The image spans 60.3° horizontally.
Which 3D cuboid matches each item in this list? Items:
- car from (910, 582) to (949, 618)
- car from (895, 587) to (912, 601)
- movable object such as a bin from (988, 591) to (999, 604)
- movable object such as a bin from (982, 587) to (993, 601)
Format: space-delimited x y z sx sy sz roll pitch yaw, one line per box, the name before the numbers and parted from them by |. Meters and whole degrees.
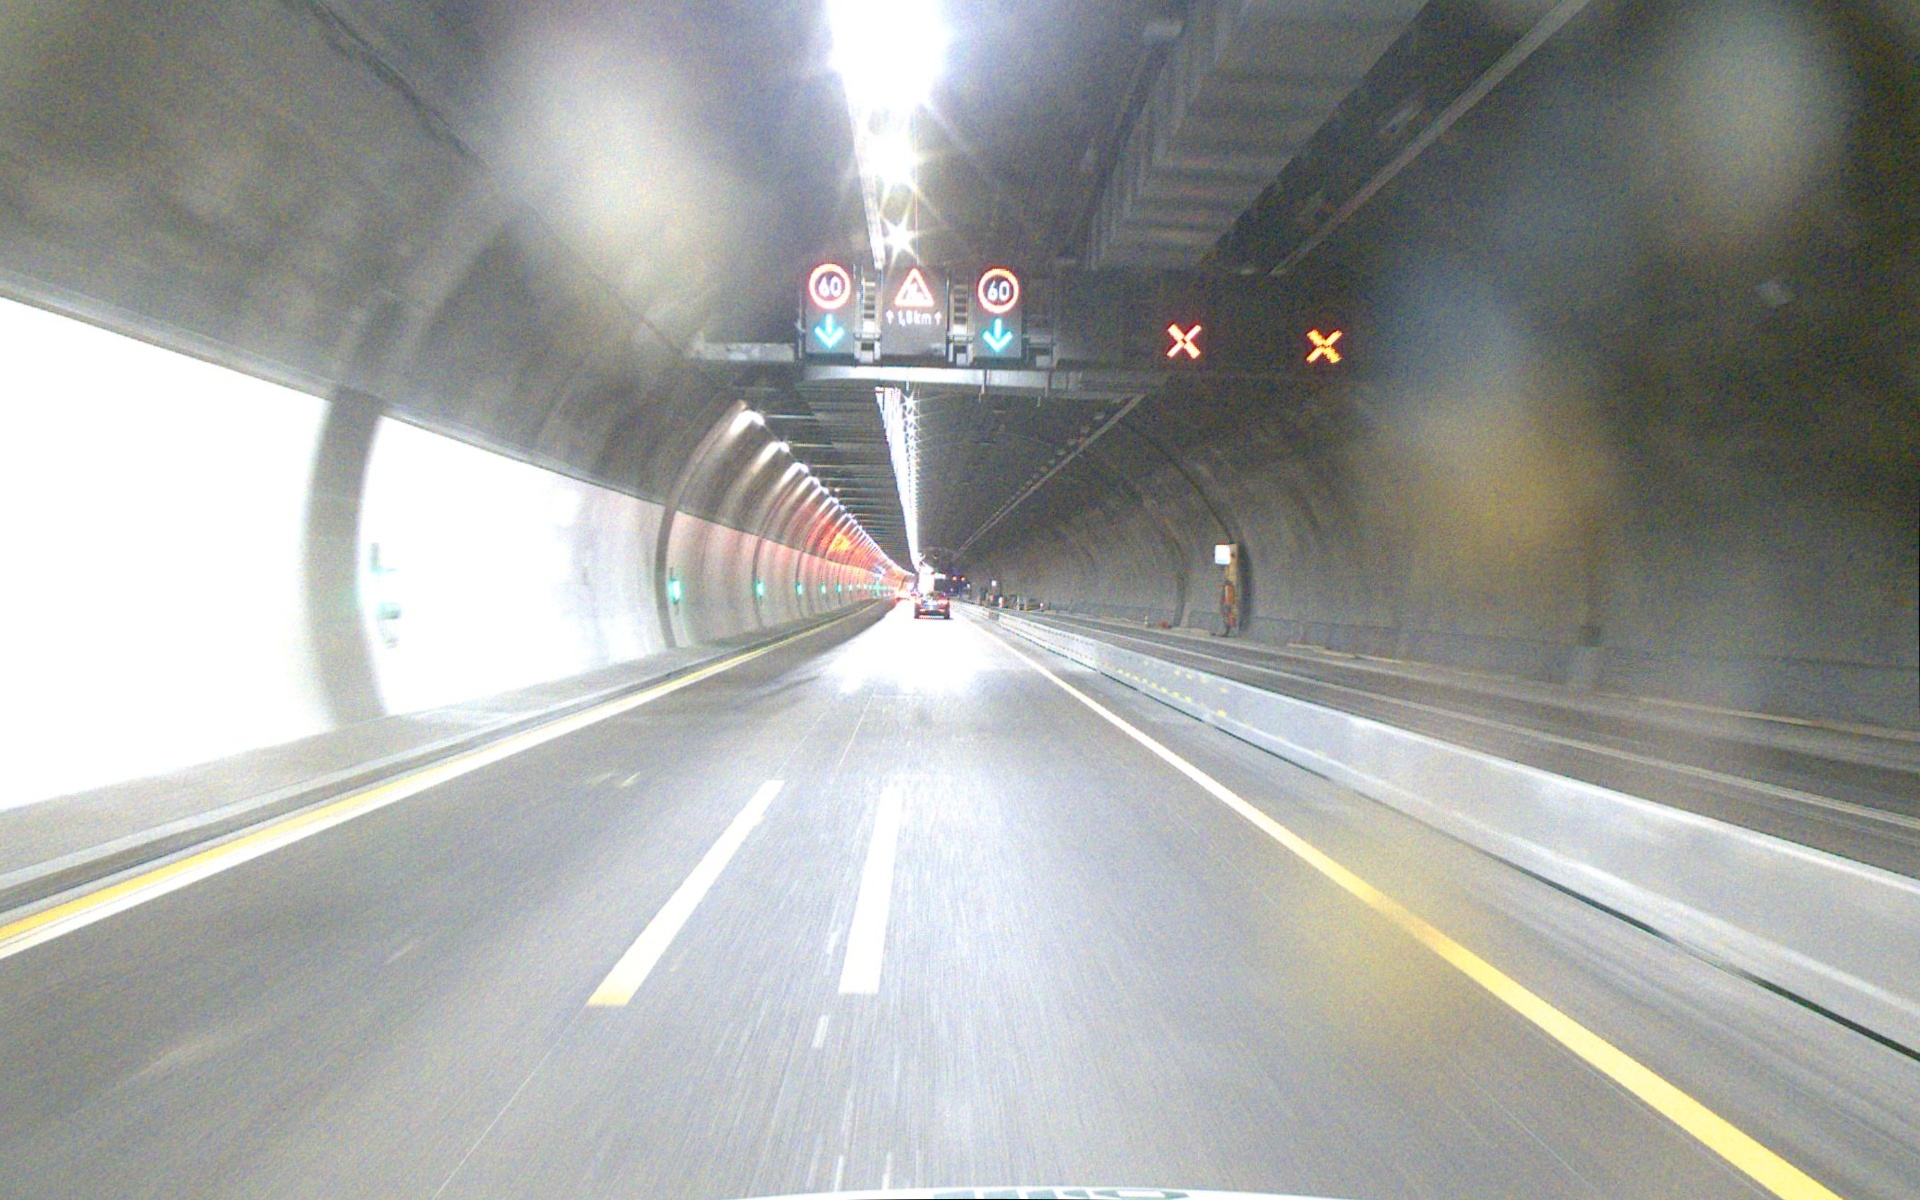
car | -1.609 -0.018 86.119 1.908 1.826 3.997 0 1 -3
car | -6.681 -0.727 195.545 1.891 1.716 3.999 0 1 -2
movable object such as a bin | 3.914 -0.254 193.657 1.210 1.467 2.216 2 0 -2
movable object such as a bin | 3.445 -0.741 204.999 1.210 1.748 2.216 2 0 -2
